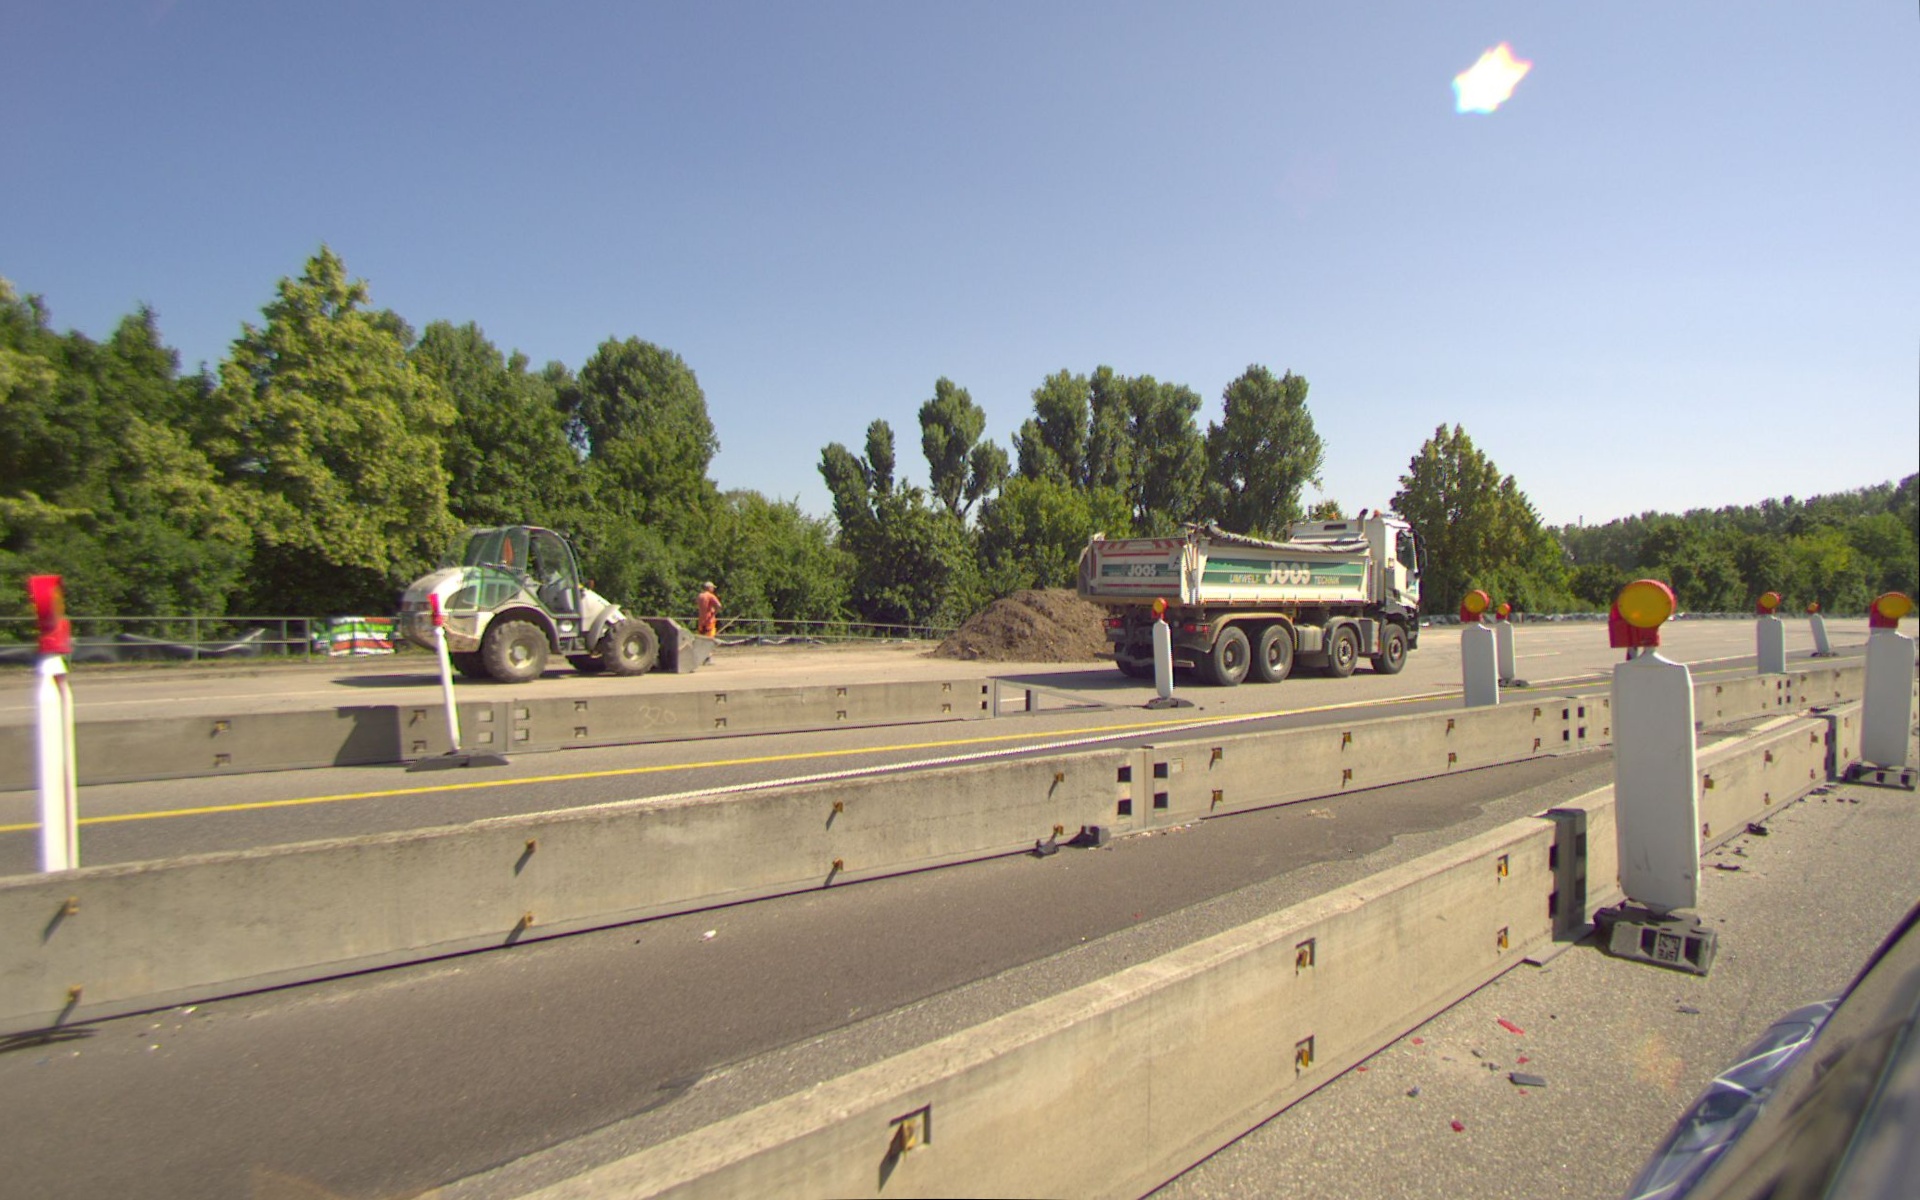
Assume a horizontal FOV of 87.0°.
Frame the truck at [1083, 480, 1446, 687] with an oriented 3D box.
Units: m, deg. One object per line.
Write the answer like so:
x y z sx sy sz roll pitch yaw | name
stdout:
6.511 -0.325 20.676 8.574 3.475 2.606 0 1 -38 | truck

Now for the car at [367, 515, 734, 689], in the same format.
-7.218 -0.010 18.471 2.104 2.675 5.891 1 1 43 | car

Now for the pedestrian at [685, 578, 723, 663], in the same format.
-5.434 0.417 21.480 0.664 1.770 0.523 0 0 44 | pedestrian
